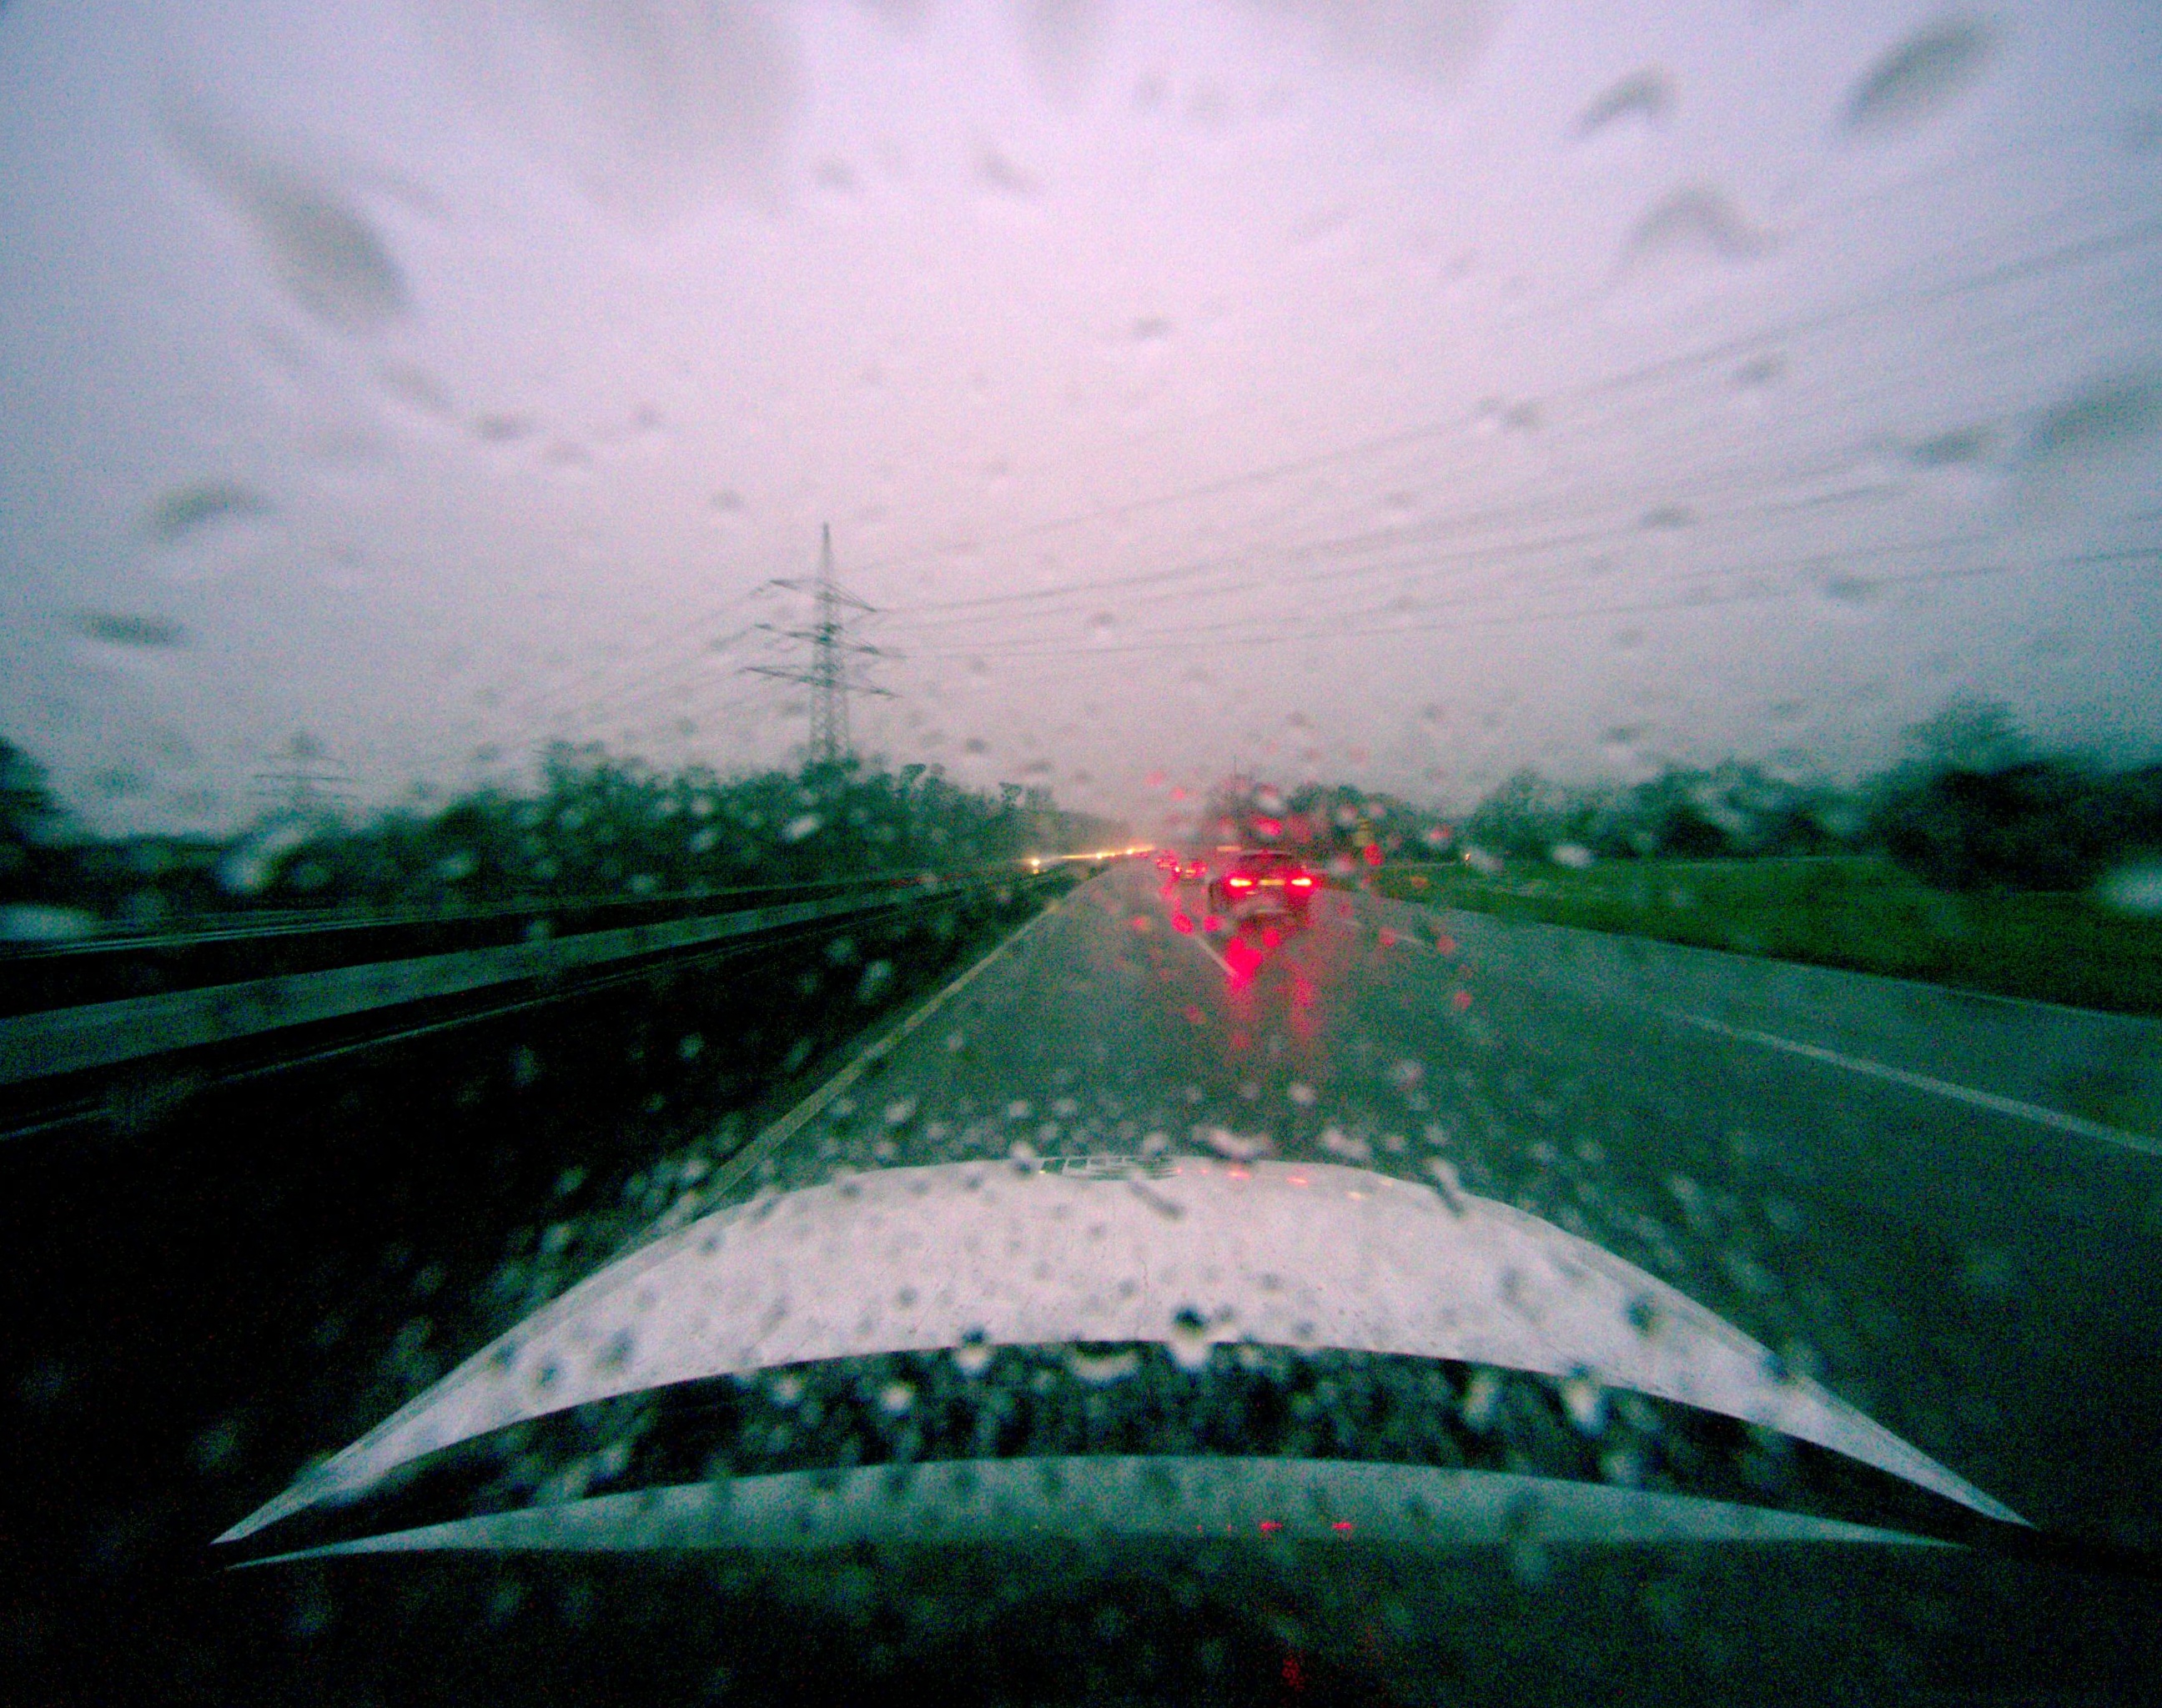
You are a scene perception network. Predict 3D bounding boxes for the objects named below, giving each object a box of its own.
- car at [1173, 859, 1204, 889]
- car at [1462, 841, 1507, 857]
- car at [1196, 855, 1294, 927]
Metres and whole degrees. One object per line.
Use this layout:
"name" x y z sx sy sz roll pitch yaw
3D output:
"car" 5.826 1.036 44.408 1.586 1.491 3.600 -1 0 6
"car" 37.871 -0.433 76.482 3.773 1.434 1.804 -1 0 25
"car" 3.846 0.813 19.718 1.672 1.509 3.810 -1 0 1
